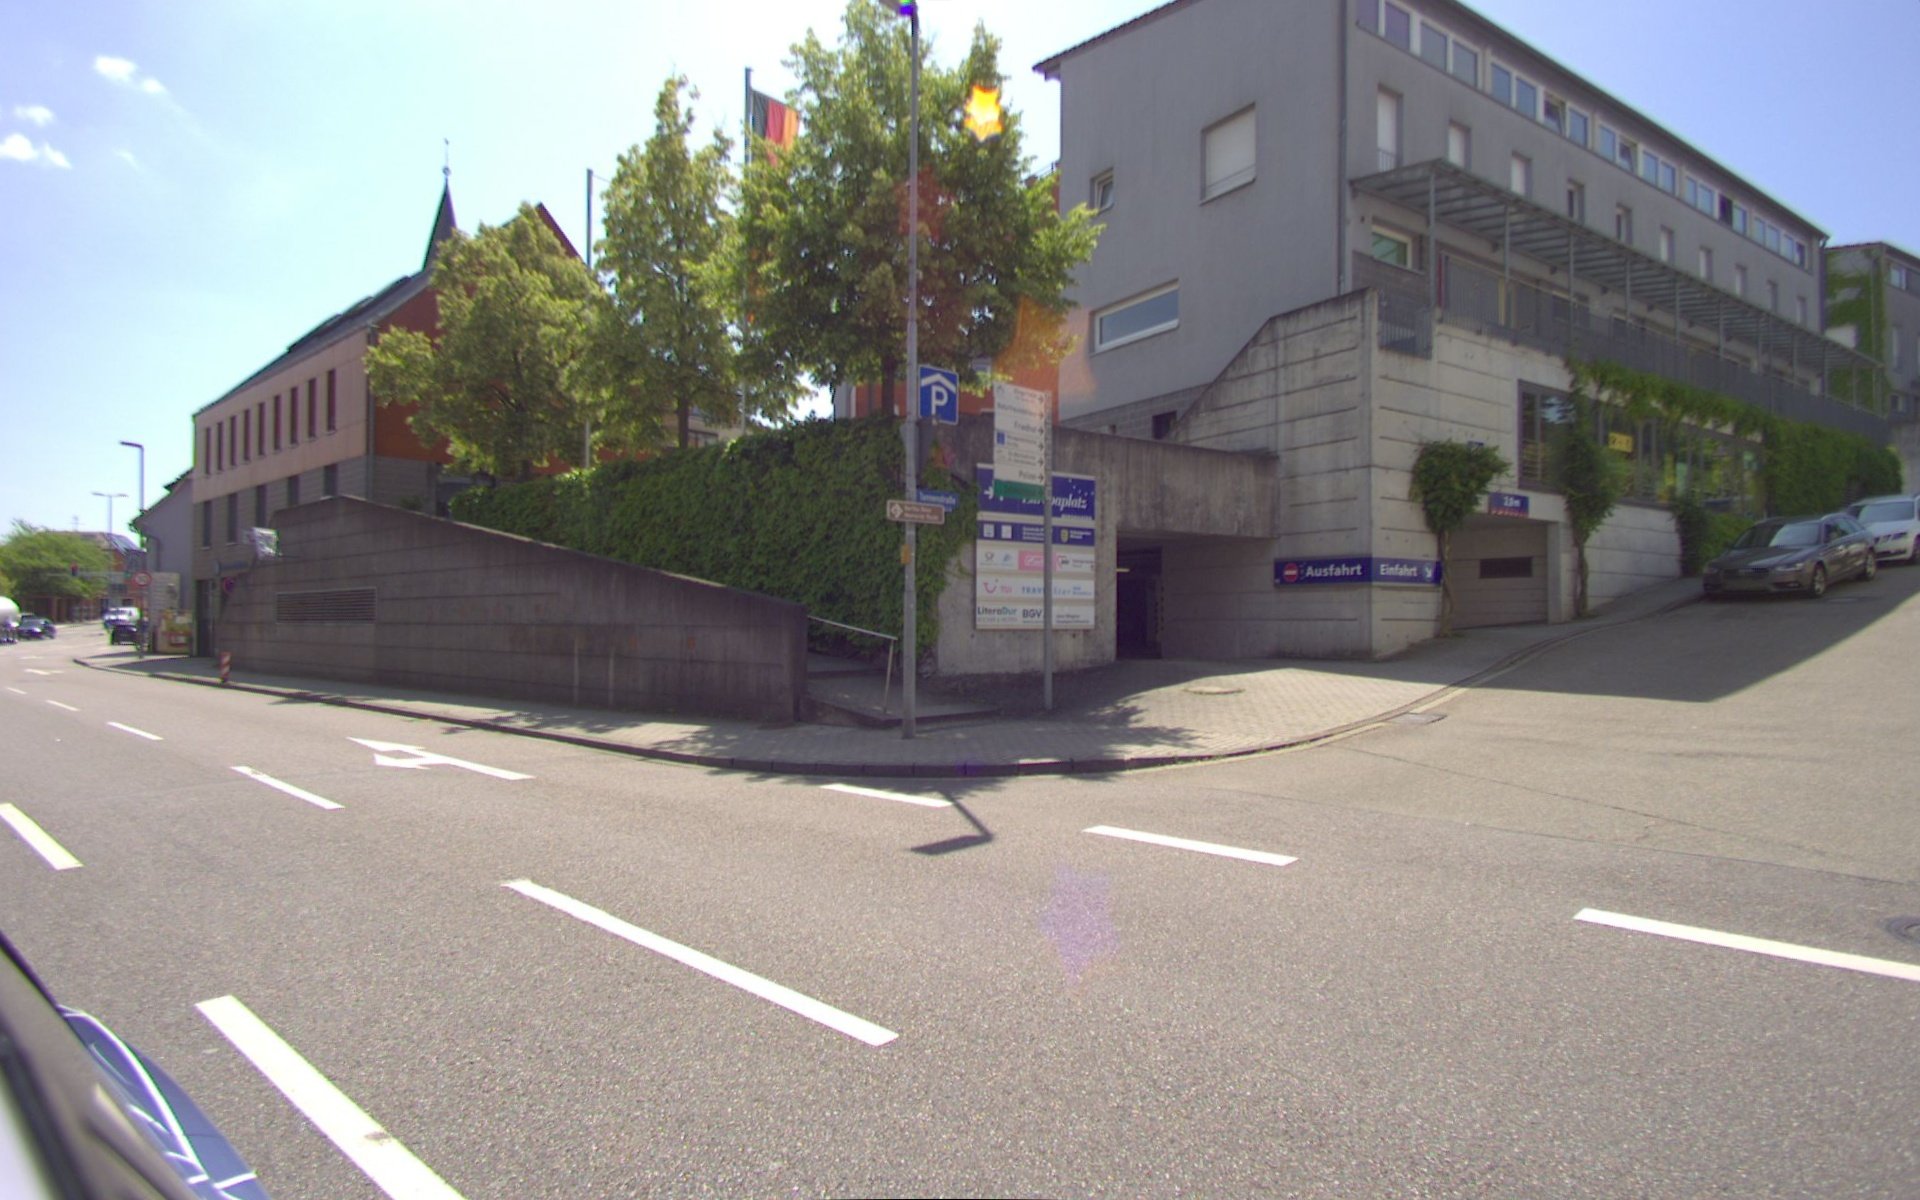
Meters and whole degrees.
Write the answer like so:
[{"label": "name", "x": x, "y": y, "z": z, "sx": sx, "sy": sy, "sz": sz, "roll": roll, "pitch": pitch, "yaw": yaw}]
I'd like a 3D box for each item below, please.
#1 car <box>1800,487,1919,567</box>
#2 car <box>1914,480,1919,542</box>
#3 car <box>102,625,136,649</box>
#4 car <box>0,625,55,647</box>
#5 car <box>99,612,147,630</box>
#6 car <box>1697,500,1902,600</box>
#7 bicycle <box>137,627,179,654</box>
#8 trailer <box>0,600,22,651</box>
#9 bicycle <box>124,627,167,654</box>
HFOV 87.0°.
[{"label": "car", "x": 21.314, "y": -1.746, "z": 23.087, "sx": 4.432, "sy": 1.431, "sz": 2.006, "roll": -8, "pitch": 3, "yaw": -32}, {"label": "car", "x": 26.886, "y": -2.558, "z": 26.346, "sx": 4.432, "sy": 1.571, "sz": 1.895, "roll": -8, "pitch": 3, "yaw": -32}, {"label": "car", "x": -61.989, "y": 2.702, "z": 74.646, "sx": 1.647, "sy": 1.670, "sz": 4.027, "roll": 0, "pitch": -1, "yaw": -35}, {"label": "car", "x": -74.367, "y": 2.844, "z": 80.752, "sx": 1.978, "sy": 1.643, "sz": 4.592, "roll": 0, "pitch": -1, "yaw": -26}, {"label": "car", "x": -83.246, "y": 2.089, "z": 100.695, "sx": 1.979, "sy": 1.643, "sz": 4.591, "roll": 0, "pitch": -1, "yaw": -16}, {"label": "car", "x": 16.545, "y": -0.996, "z": 19.891, "sx": 4.432, "sy": 1.431, "sz": 1.763, "roll": -8, "pitch": 3, "yaw": -32}, {"label": "bicycle", "x": -42.075, "y": 2.109, "z": 53.111, "sx": 0.571, "sy": 1.258, "sz": 1.828, "roll": -4, "pitch": 0, "yaw": 6}, {"label": "trailer", "x": -68.244, "y": 1.772, "z": 69.885, "sx": 2.791, "sy": 3.597, "sz": 10.997, "roll": 0, "pitch": -1, "yaw": -31}, {"label": "bicycle", "x": -42.719, "y": 2.121, "z": 53.111, "sx": 0.571, "sy": 1.258, "sz": 1.828, "roll": -4, "pitch": 0, "yaw": 6}]
